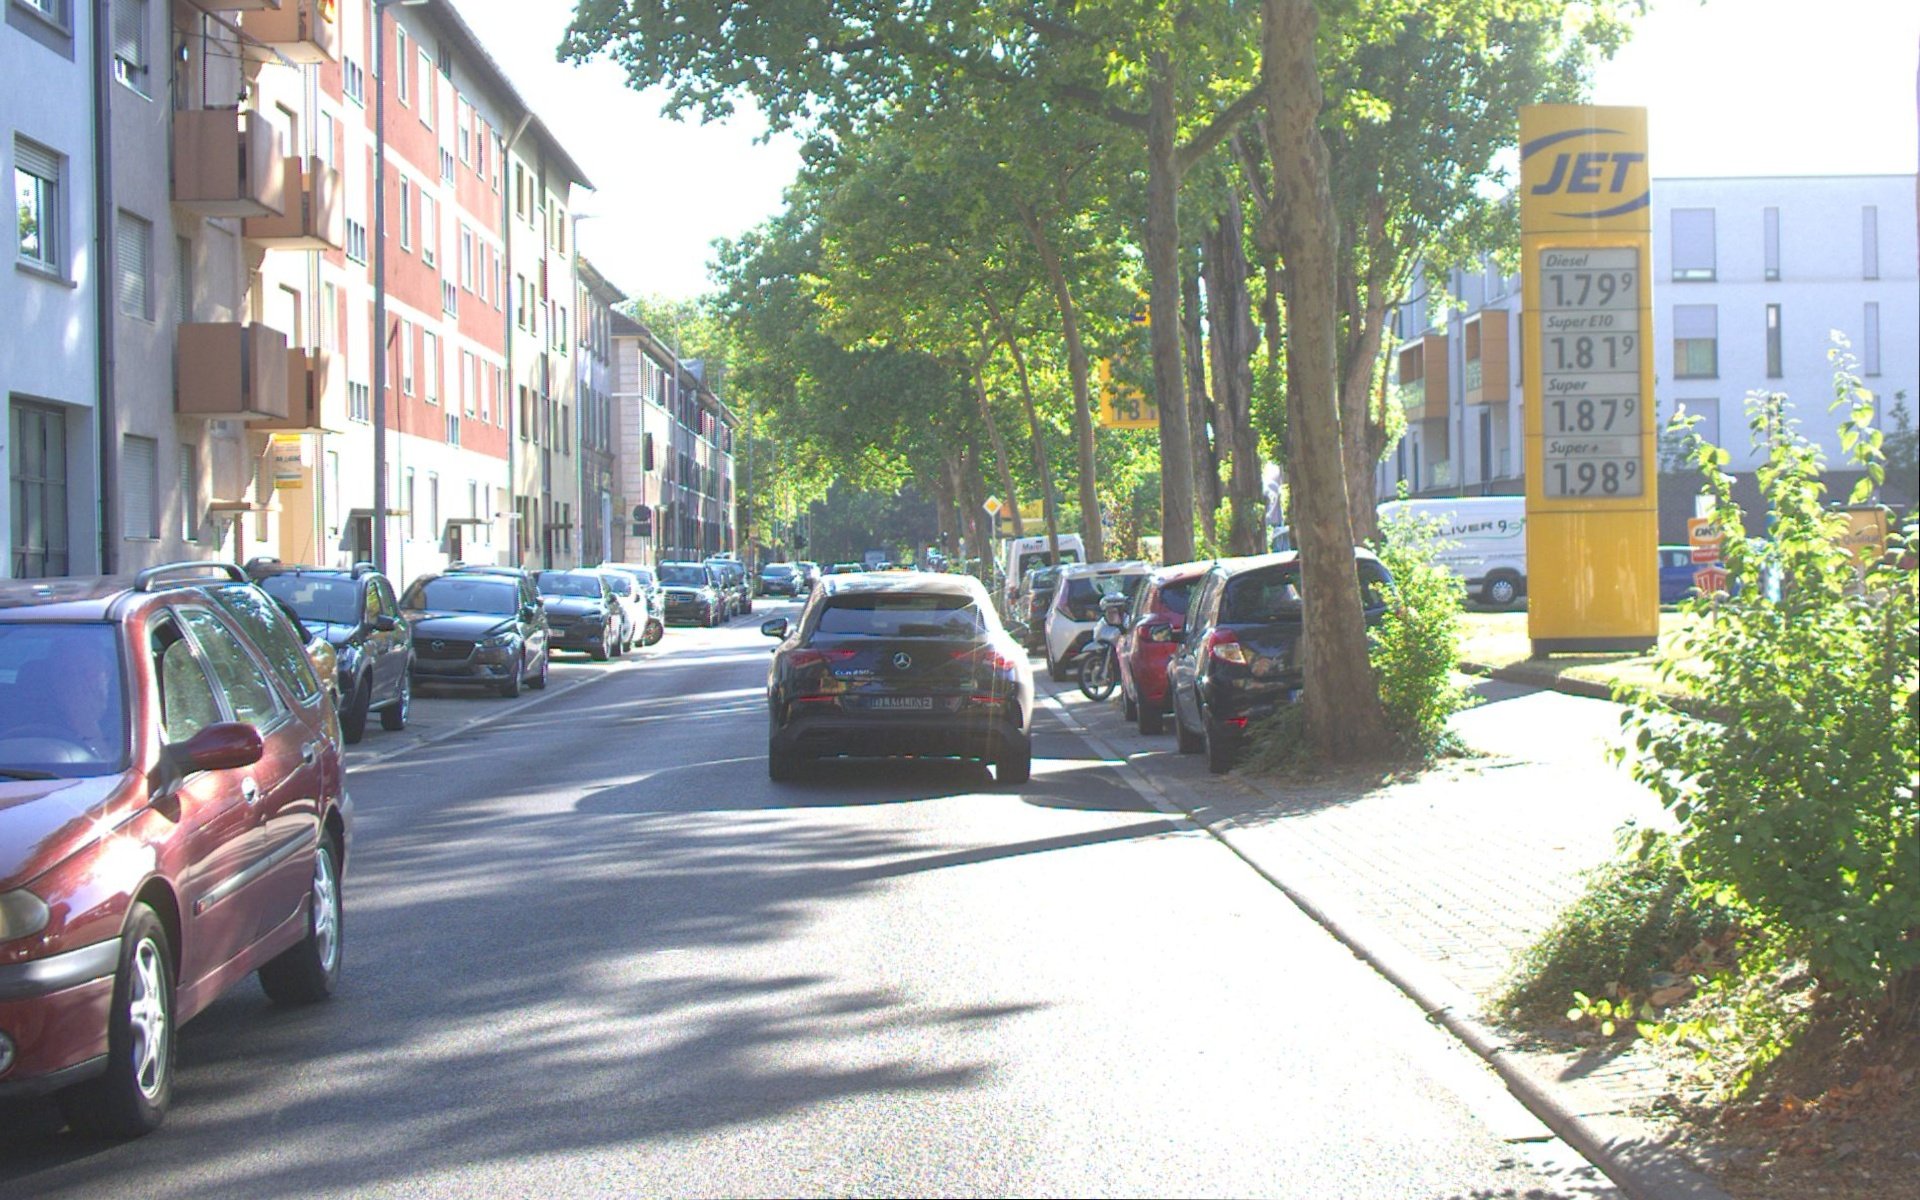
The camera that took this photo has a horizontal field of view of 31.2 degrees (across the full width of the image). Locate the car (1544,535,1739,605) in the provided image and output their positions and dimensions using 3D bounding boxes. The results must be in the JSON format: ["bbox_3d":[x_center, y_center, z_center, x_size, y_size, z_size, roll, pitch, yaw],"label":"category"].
[{"bbox_3d":[15.344,-0.661,77.558,3.986,1.524,1.807,0,-1,-2],"label":"car"}]

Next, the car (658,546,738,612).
[{"bbox_3d":[-6.681,-0.551,88.016,1.712,1.557,3.801,3,1,0],"label":"car"}]

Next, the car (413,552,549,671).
[{"bbox_3d":[-6.863,0.139,49.533,1.712,1.557,3.798,3,1,-5],"label":"car"}]

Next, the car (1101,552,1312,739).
[{"bbox_3d":[2.190,0.383,31.345,1.559,1.590,3.601,1,0,-1],"label":"car"}]

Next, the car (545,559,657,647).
[{"bbox_3d":[-6.900,0.036,66.398,1.712,1.557,3.801,3,1,0],"label":"car"}]

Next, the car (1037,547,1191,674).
[{"bbox_3d":[1.962,0.105,44.751,1.722,1.552,3.601,-1,1,-1],"label":"car"}]

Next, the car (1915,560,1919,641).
[{"bbox_3d":[2.660,0.647,3.928,1.810,1.533,4.583,-4,0,1],"label":"car"}]

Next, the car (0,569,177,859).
[{"bbox_3d":[-5.857,0.593,20.480,1.547,1.518,4.005,1,1,-1],"label":"car"}]

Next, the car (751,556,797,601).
[{"bbox_3d":[-8.323,-0.961,154.072,1.907,1.941,4.000,0,-1,-1],"label":"car"}]

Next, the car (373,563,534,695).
[{"bbox_3d":[-6.218,0.327,42.528,1.712,1.459,3.798,3,1,-5],"label":"car"}]

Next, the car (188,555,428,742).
[{"bbox_3d":[-6.057,0.401,32.290,1.596,1.624,3.838,1,1,-1],"label":"car"}]

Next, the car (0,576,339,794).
[{"bbox_3d":[-5.784,0.568,25.533,1.596,1.429,4.217,1,1,0],"label":"car"}]

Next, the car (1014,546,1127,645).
[{"bbox_3d":[1.785,-0.081,56.637,1.633,1.552,3.601,1,0,-1],"label":"car"}]

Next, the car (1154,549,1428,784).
[{"bbox_3d":[2.367,0.446,25.289,1.559,1.590,3.601,1,0,-1],"label":"car"}]

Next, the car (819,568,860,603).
[{"bbox_3d":[-5.827,-0.685,166.801,1.901,1.655,4.000,0,-1,-1],"label":"car"}]

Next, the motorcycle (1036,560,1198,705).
[{"bbox_3d":[1.710,0.350,37.401,1.641,1.552,0.612,1,0,-22],"label":"motorcycle"}]

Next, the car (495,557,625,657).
[{"bbox_3d":[-6.746,0.089,58.259,1.712,1.557,3.801,3,1,0],"label":"car"}]

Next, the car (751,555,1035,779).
[{"bbox_3d":[-0.398,0.414,24.516,1.744,1.438,3.969,1,1,3],"label":"car"}]

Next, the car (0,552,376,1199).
[{"bbox_3d":[-2.948,0.654,10.174,1.663,1.518,4.412,-2,1,0],"label":"car"}]

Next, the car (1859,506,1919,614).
[{"bbox_3d":[16.737,-0.694,55.594,3.824,1.706,1.841,-2,1,-18],"label":"car"}]

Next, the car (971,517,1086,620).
[{"bbox_3d":[1.354,-0.605,69.838,1.993,2.007,4.000,0,-1,-4],"label":"car"}]
